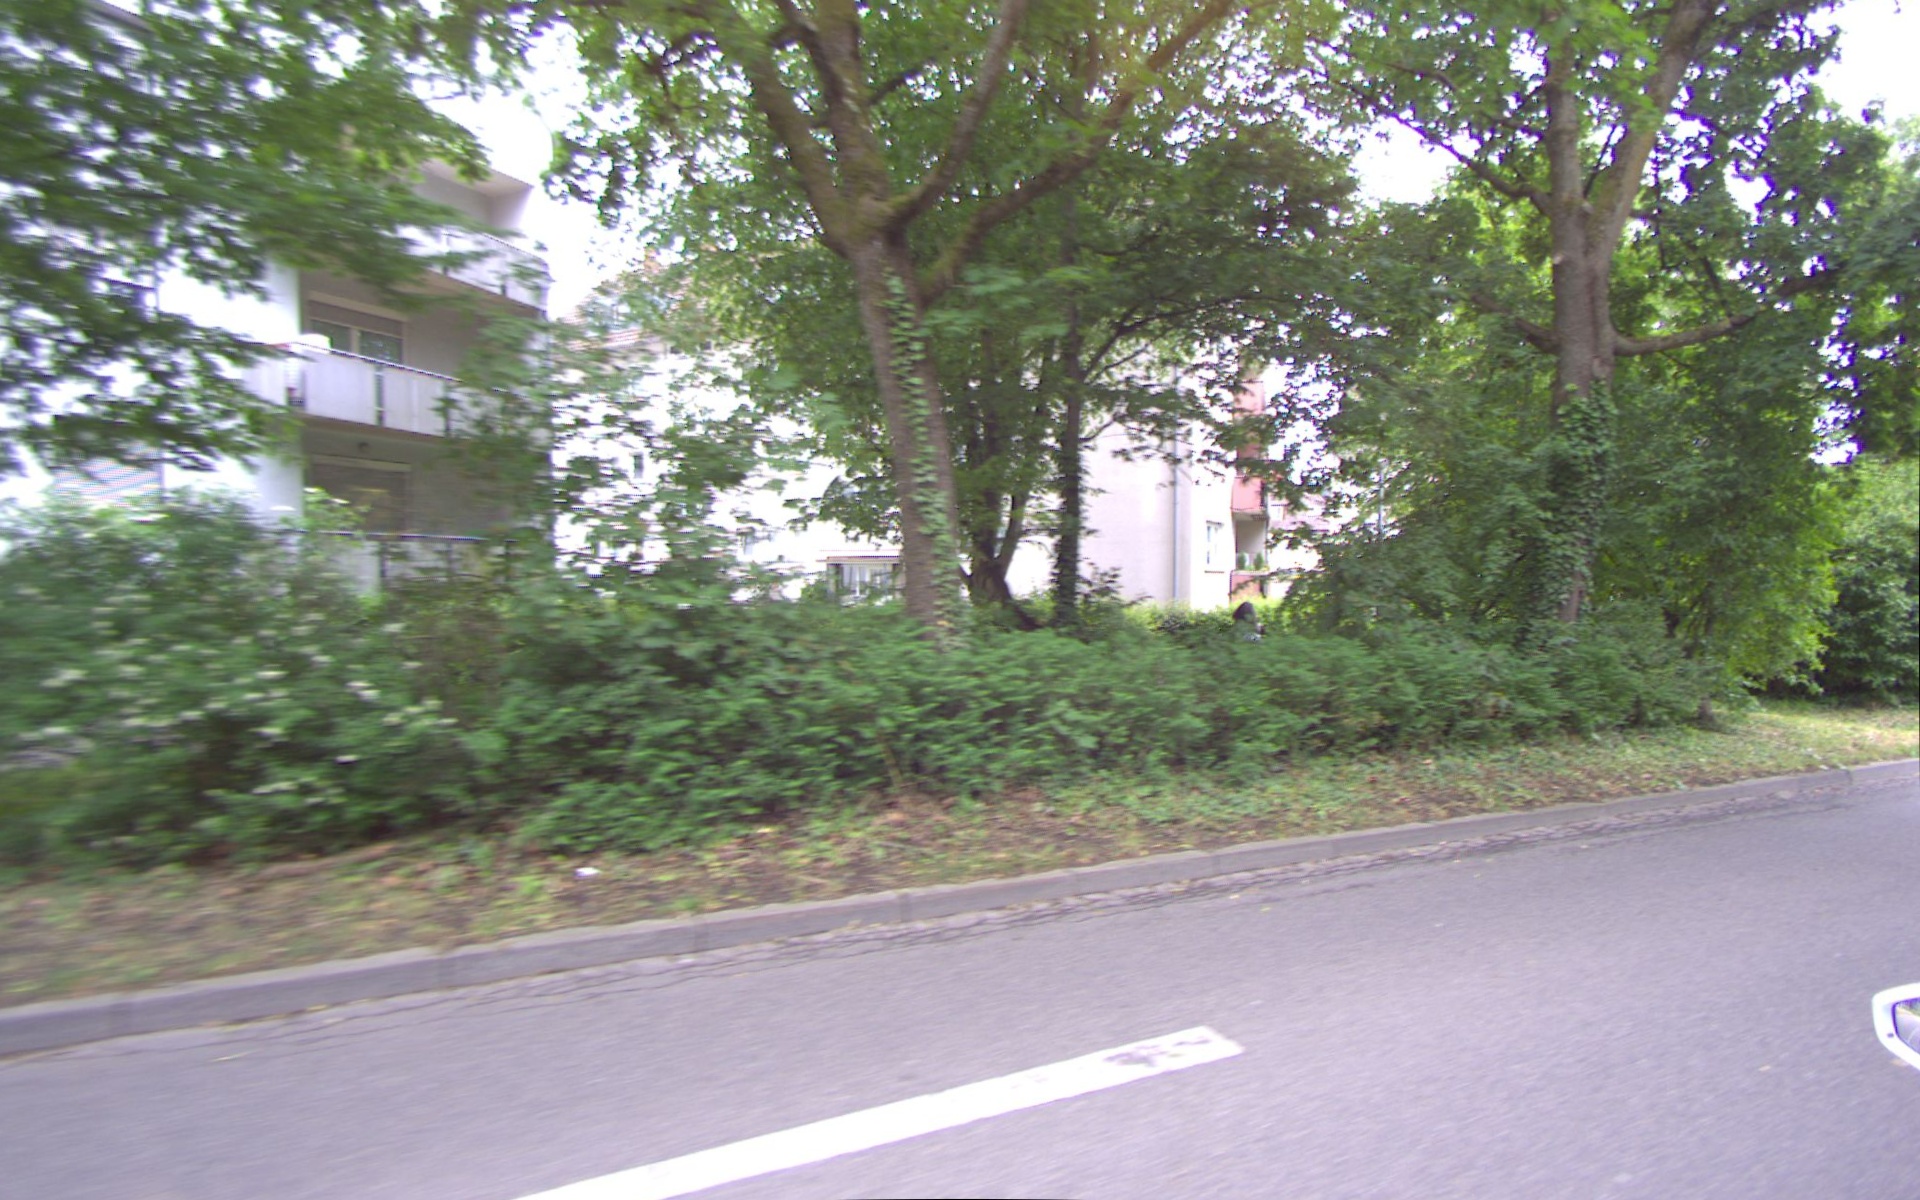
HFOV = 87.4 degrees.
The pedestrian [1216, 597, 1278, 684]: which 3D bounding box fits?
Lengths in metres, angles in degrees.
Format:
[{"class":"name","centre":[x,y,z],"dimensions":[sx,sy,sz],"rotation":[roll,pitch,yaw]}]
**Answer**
[{"class":"pedestrian","centre":[5.304,0.732,18.552],"dimensions":[0.861,1.521,0.605],"rotation":[0,4,-27]}]
